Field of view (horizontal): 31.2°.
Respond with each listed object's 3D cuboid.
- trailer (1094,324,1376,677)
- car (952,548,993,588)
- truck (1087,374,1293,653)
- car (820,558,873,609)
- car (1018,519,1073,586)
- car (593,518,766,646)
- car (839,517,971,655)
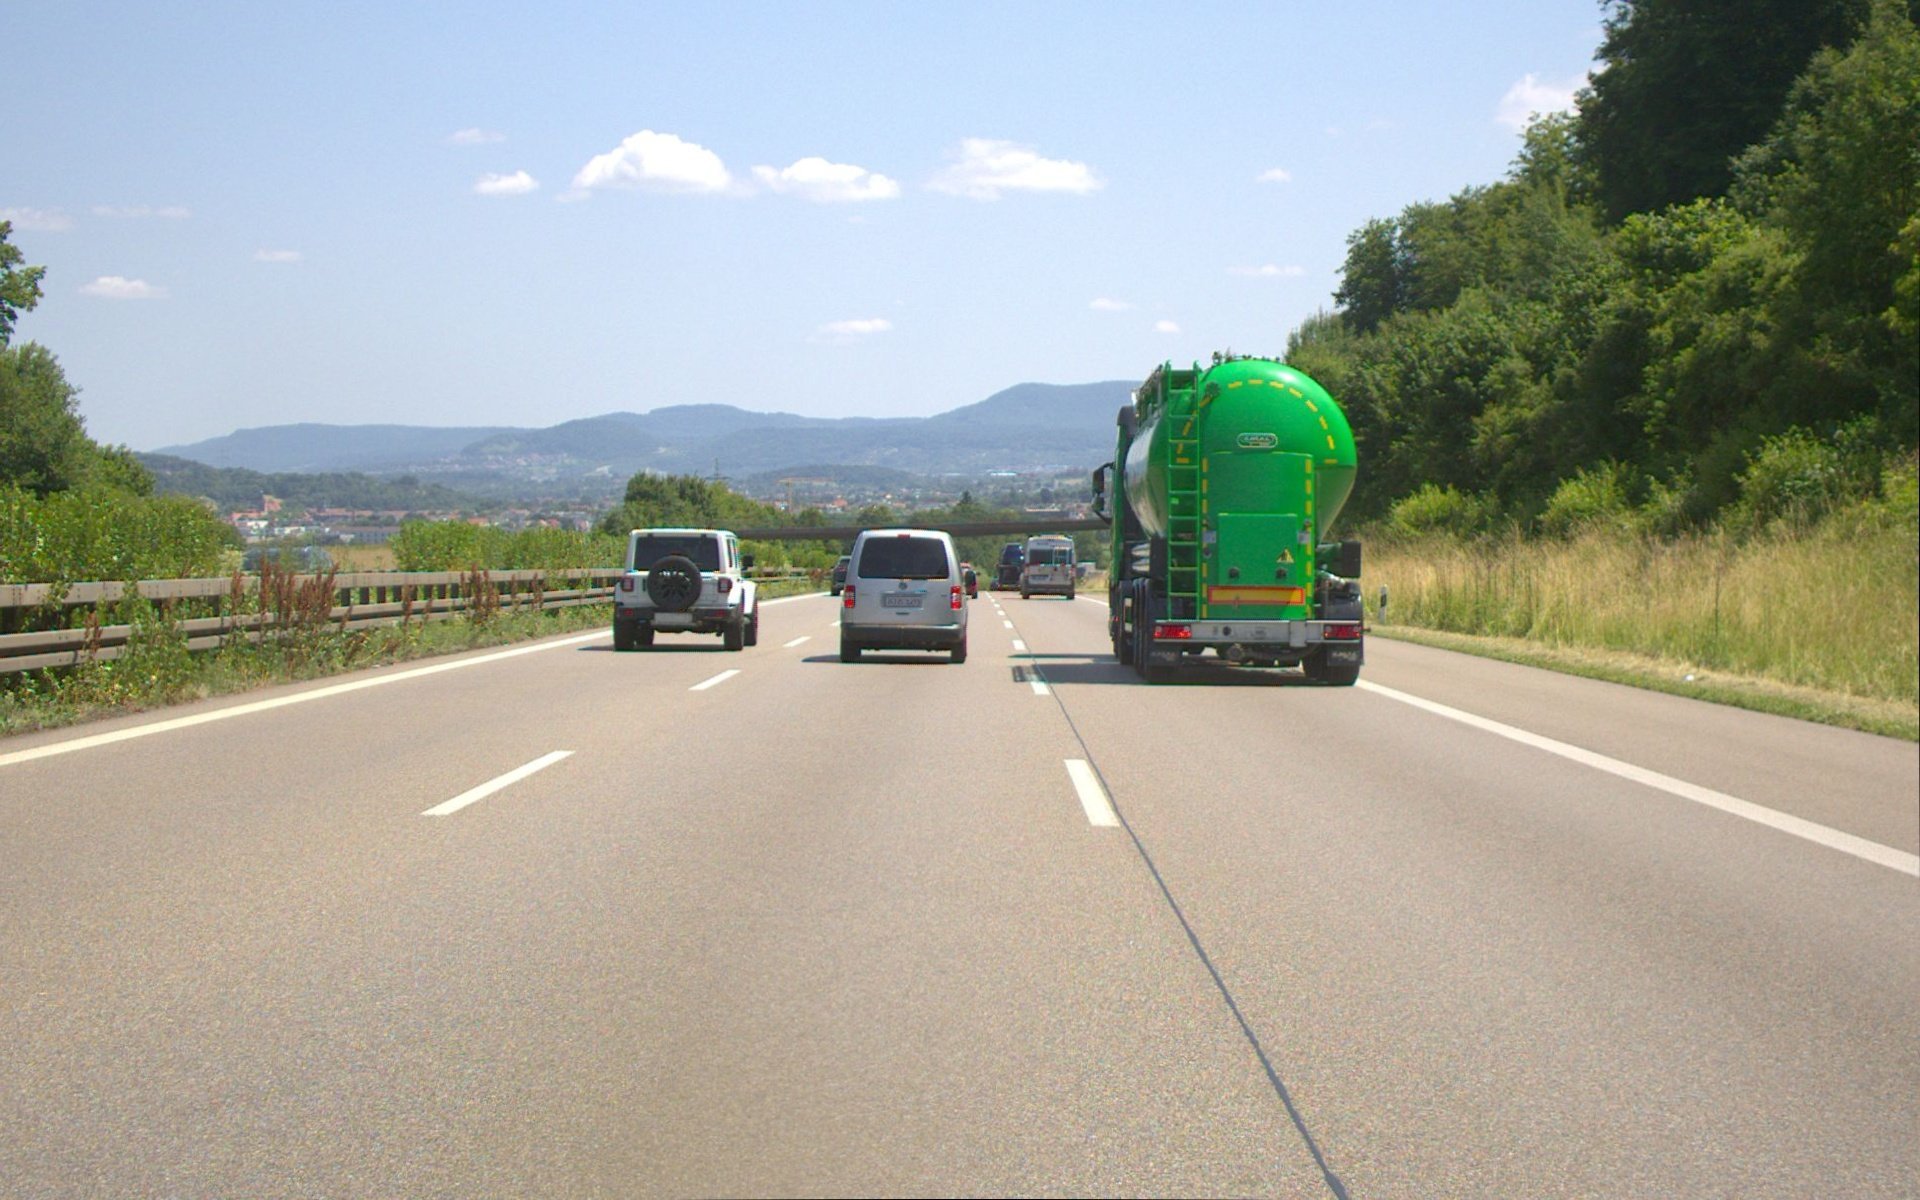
[{"bbox_3d":[3.373,-1.251,44.860,2.587,4.014,10.471,1,1,-1],"label":"trailer"},{"bbox_3d":[0.513,-1.296,137.390,1.446,1.545,3.356,1,1,3],"label":"car"},{"bbox_3d":[3.285,-1.246,50.111,2.509,3.828,4.893,1,1,-1],"label":"truck"},{"bbox_3d":[-4.692,-0.694,142.935,1.993,2.007,4.000,1,1,0],"label":"car"},{"bbox_3d":[3.452,-1.934,138.870,2.089,2.567,6.622,1,1,1],"label":"car"},{"bbox_3d":[-4.253,-0.311,52.869,2.083,1.823,4.753,1,1,2],"label":"car"},{"bbox_3d":[-0.804,-0.240,48.768,1.745,1.823,4.801,1,1,-1],"label":"car"}]
